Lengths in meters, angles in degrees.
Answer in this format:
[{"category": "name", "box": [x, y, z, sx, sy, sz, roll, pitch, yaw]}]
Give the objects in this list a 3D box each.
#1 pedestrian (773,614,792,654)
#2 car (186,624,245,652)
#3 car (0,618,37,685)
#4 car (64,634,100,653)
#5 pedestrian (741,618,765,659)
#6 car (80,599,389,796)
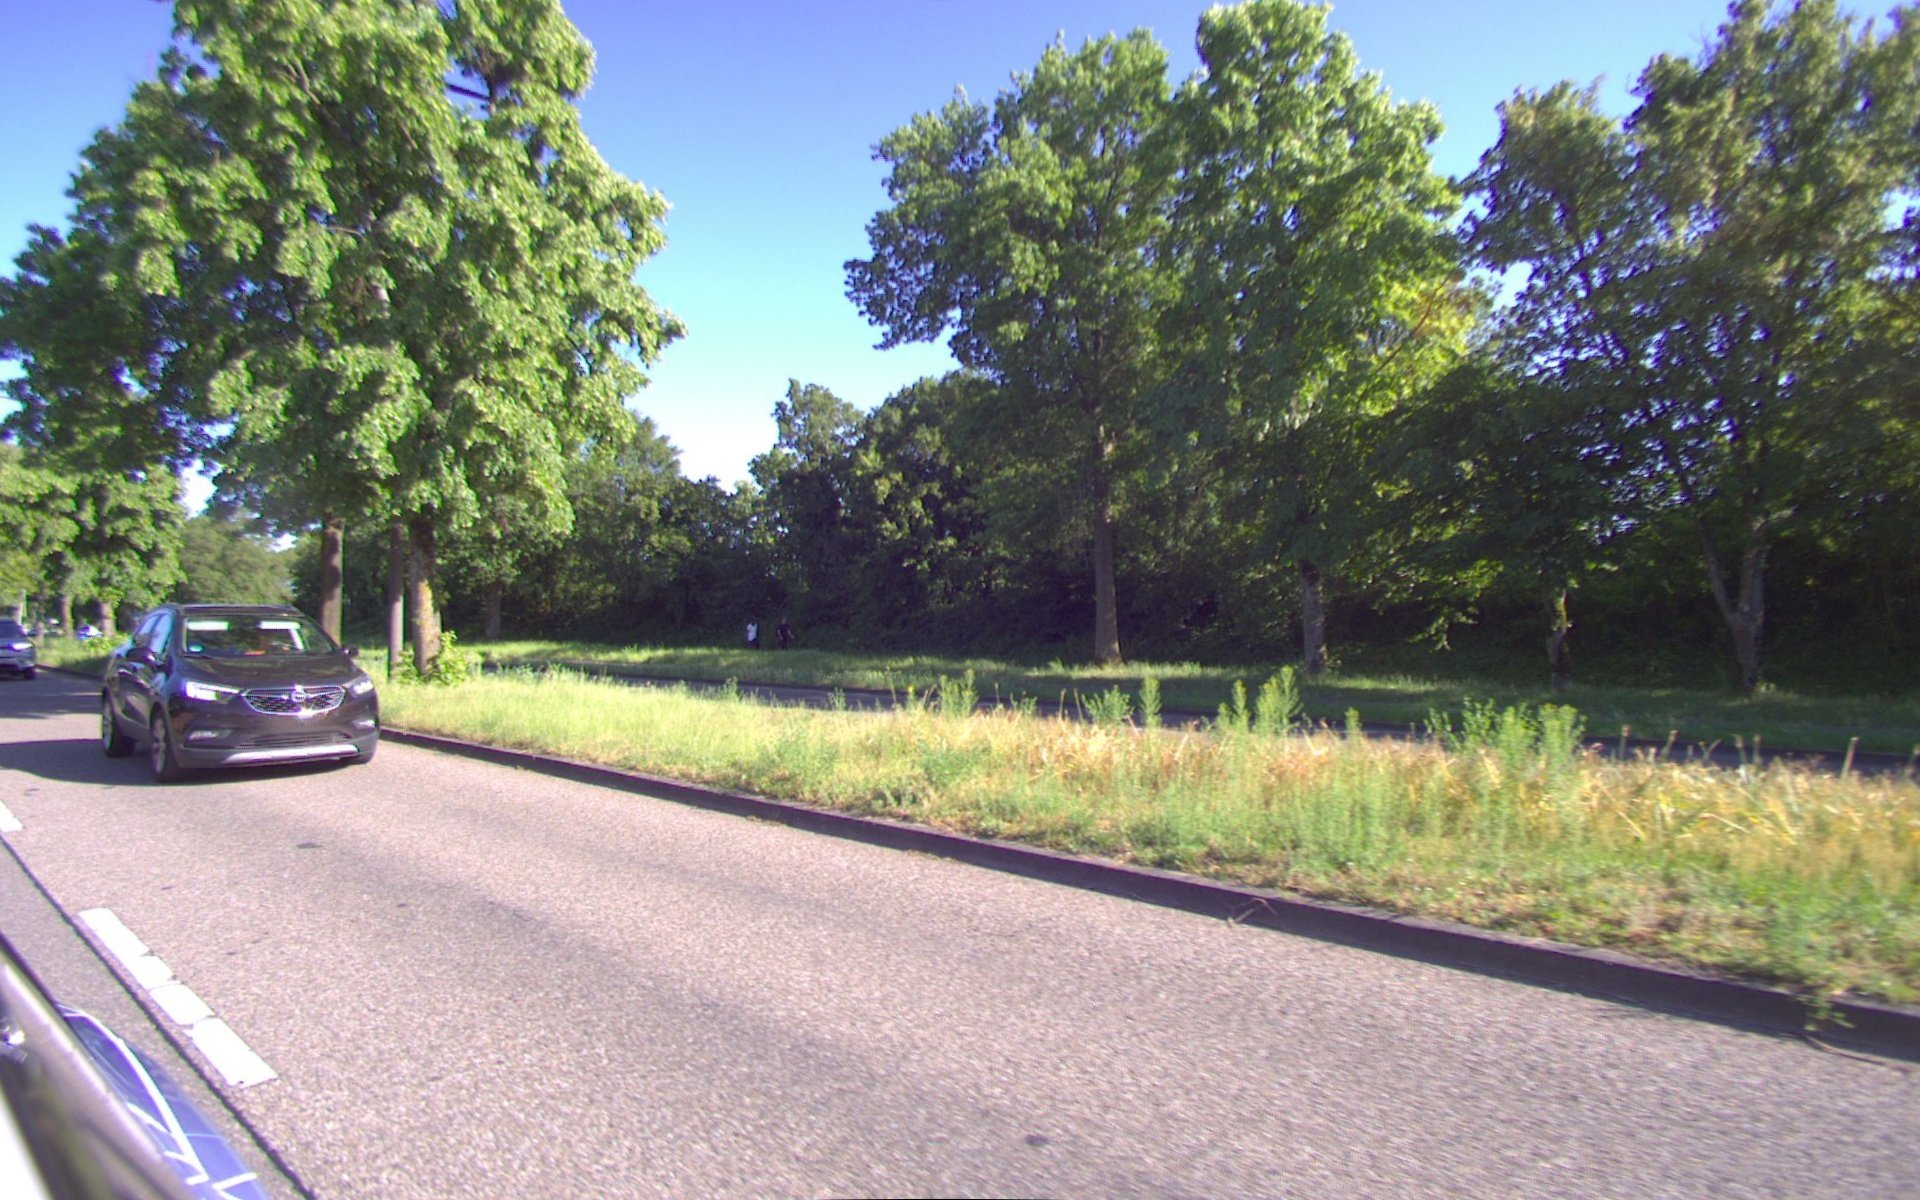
[{"category": "pedestrian", "box": [-7.579, 1.445, 43.206, 0.539, 1.672, 0.554, -1, 0, 36]}, {"category": "car", "box": [-41.871, 2.146, 56.871, 4.343, 1.468, 1.708, -2, -4, 41]}, {"category": "car", "box": [-25.188, 1.282, 25.969, 4.104, 1.622, 1.765, -1, -2, 41]}, {"category": "car", "box": [-74.725, 3.686, 86.104, 3.745, 1.590, 1.710, -2, -4, 41]}, {"category": "pedestrian", "box": [-8.603, 1.576, 42.033, 0.678, 1.672, 0.675, -1, 0, 37]}, {"category": "car", "box": [-7.716, 0.859, 10.594, 4.416, 1.644, 1.678, -1, -2, 41]}]
